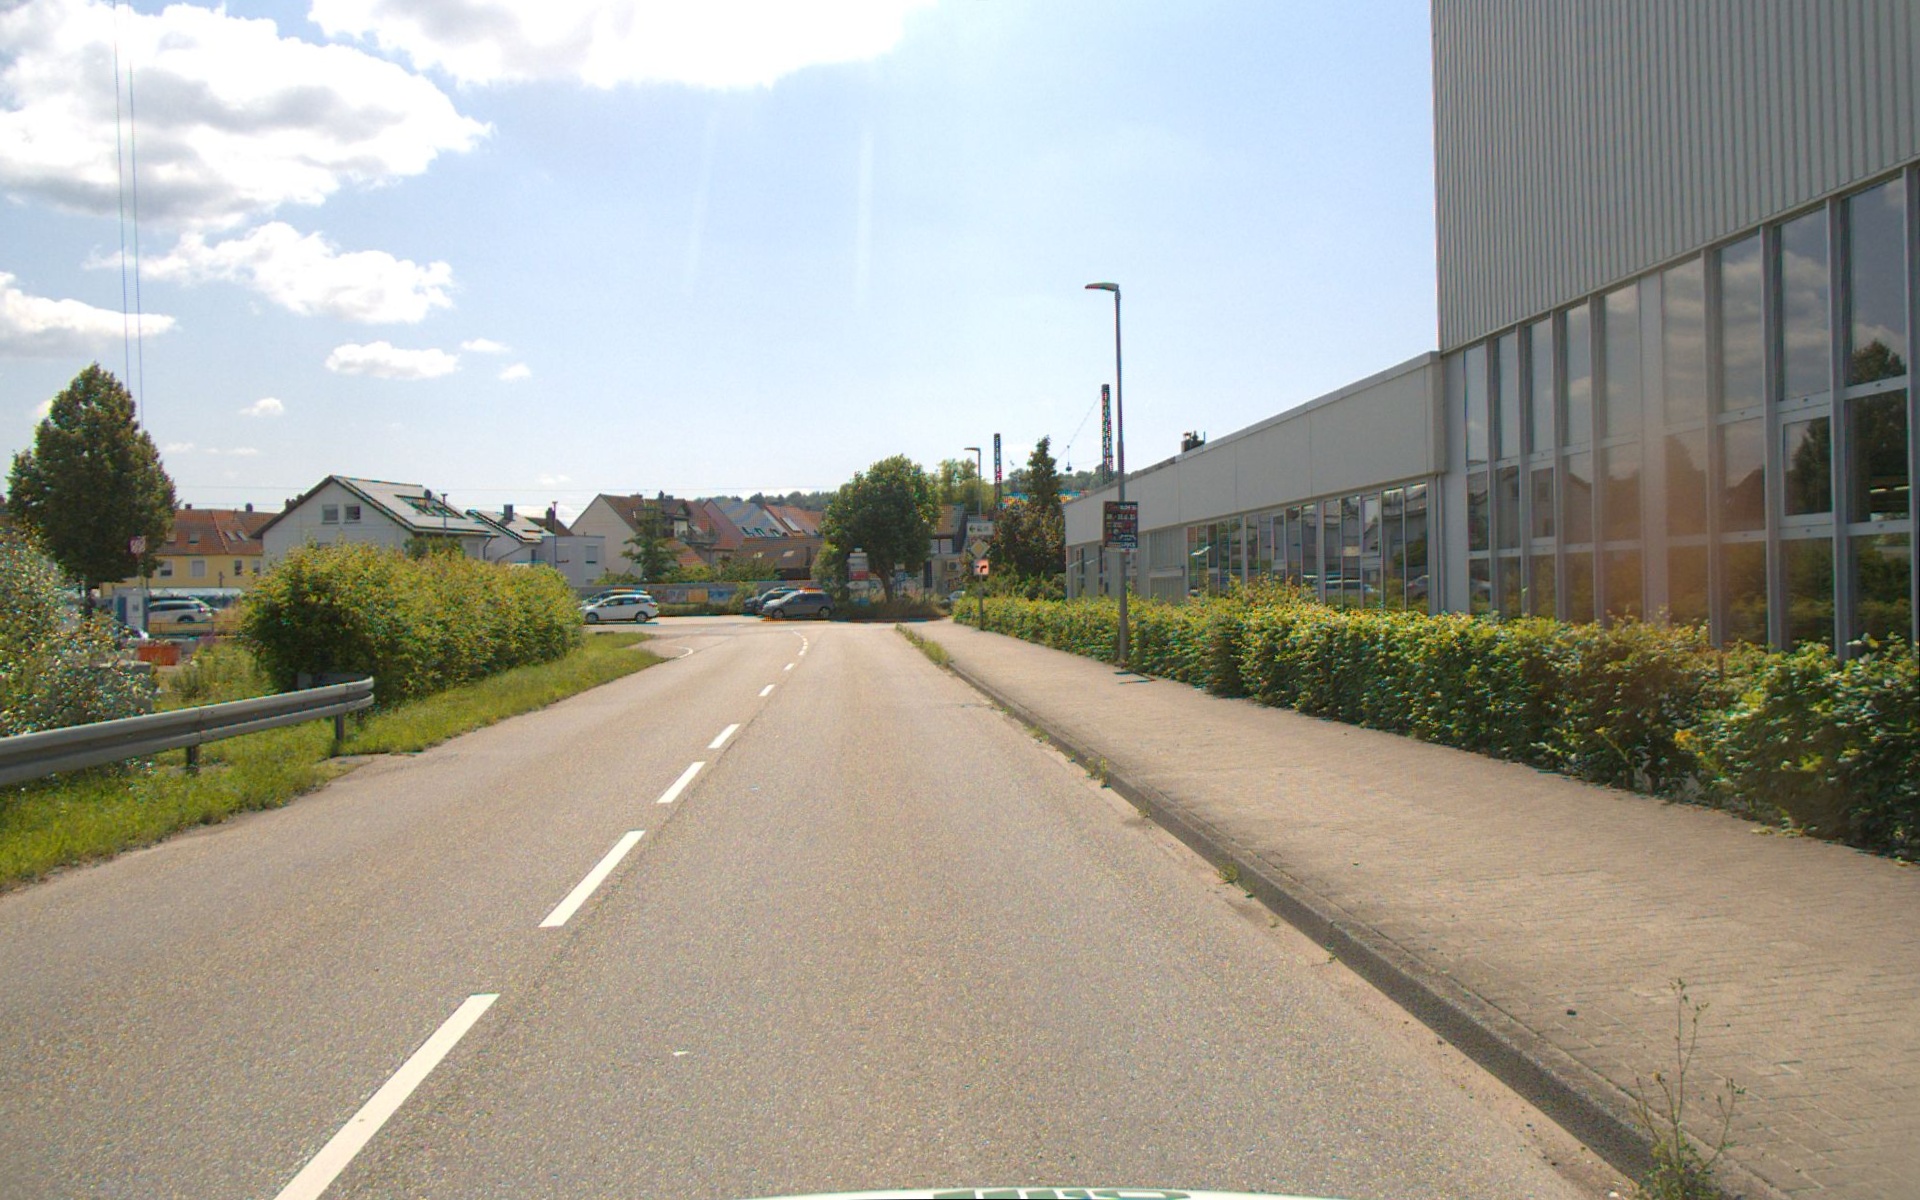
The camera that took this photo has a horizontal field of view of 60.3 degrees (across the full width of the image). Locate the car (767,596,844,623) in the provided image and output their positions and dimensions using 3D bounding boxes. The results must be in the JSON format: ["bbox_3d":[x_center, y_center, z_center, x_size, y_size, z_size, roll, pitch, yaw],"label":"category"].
[{"bbox_3d":[-8.613,0.531,92.160,4.115,1.488,1.659,0,0,-13],"label":"car"}]

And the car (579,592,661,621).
[{"bbox_3d":[-18.394,0.352,89.433,4.214,1.502,1.819,1,-1,-17],"label":"car"}]

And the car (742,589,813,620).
[{"bbox_3d":[-10.630,0.252,96.225,3.920,1.686,1.993,-1,0,-14],"label":"car"}]

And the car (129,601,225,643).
[{"bbox_3d":[-40.346,1.127,85.224,4.350,2.049,1.980,-1,0,-30],"label":"car"}]

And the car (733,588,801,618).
[{"bbox_3d":[-11.606,0.174,99.382,3.919,1.760,1.764,1,-1,-14],"label":"car"}]

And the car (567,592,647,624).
[{"bbox_3d":[-20.066,0.454,93.952,4.375,1.720,1.994,-1,1,-13],"label":"car"}]
